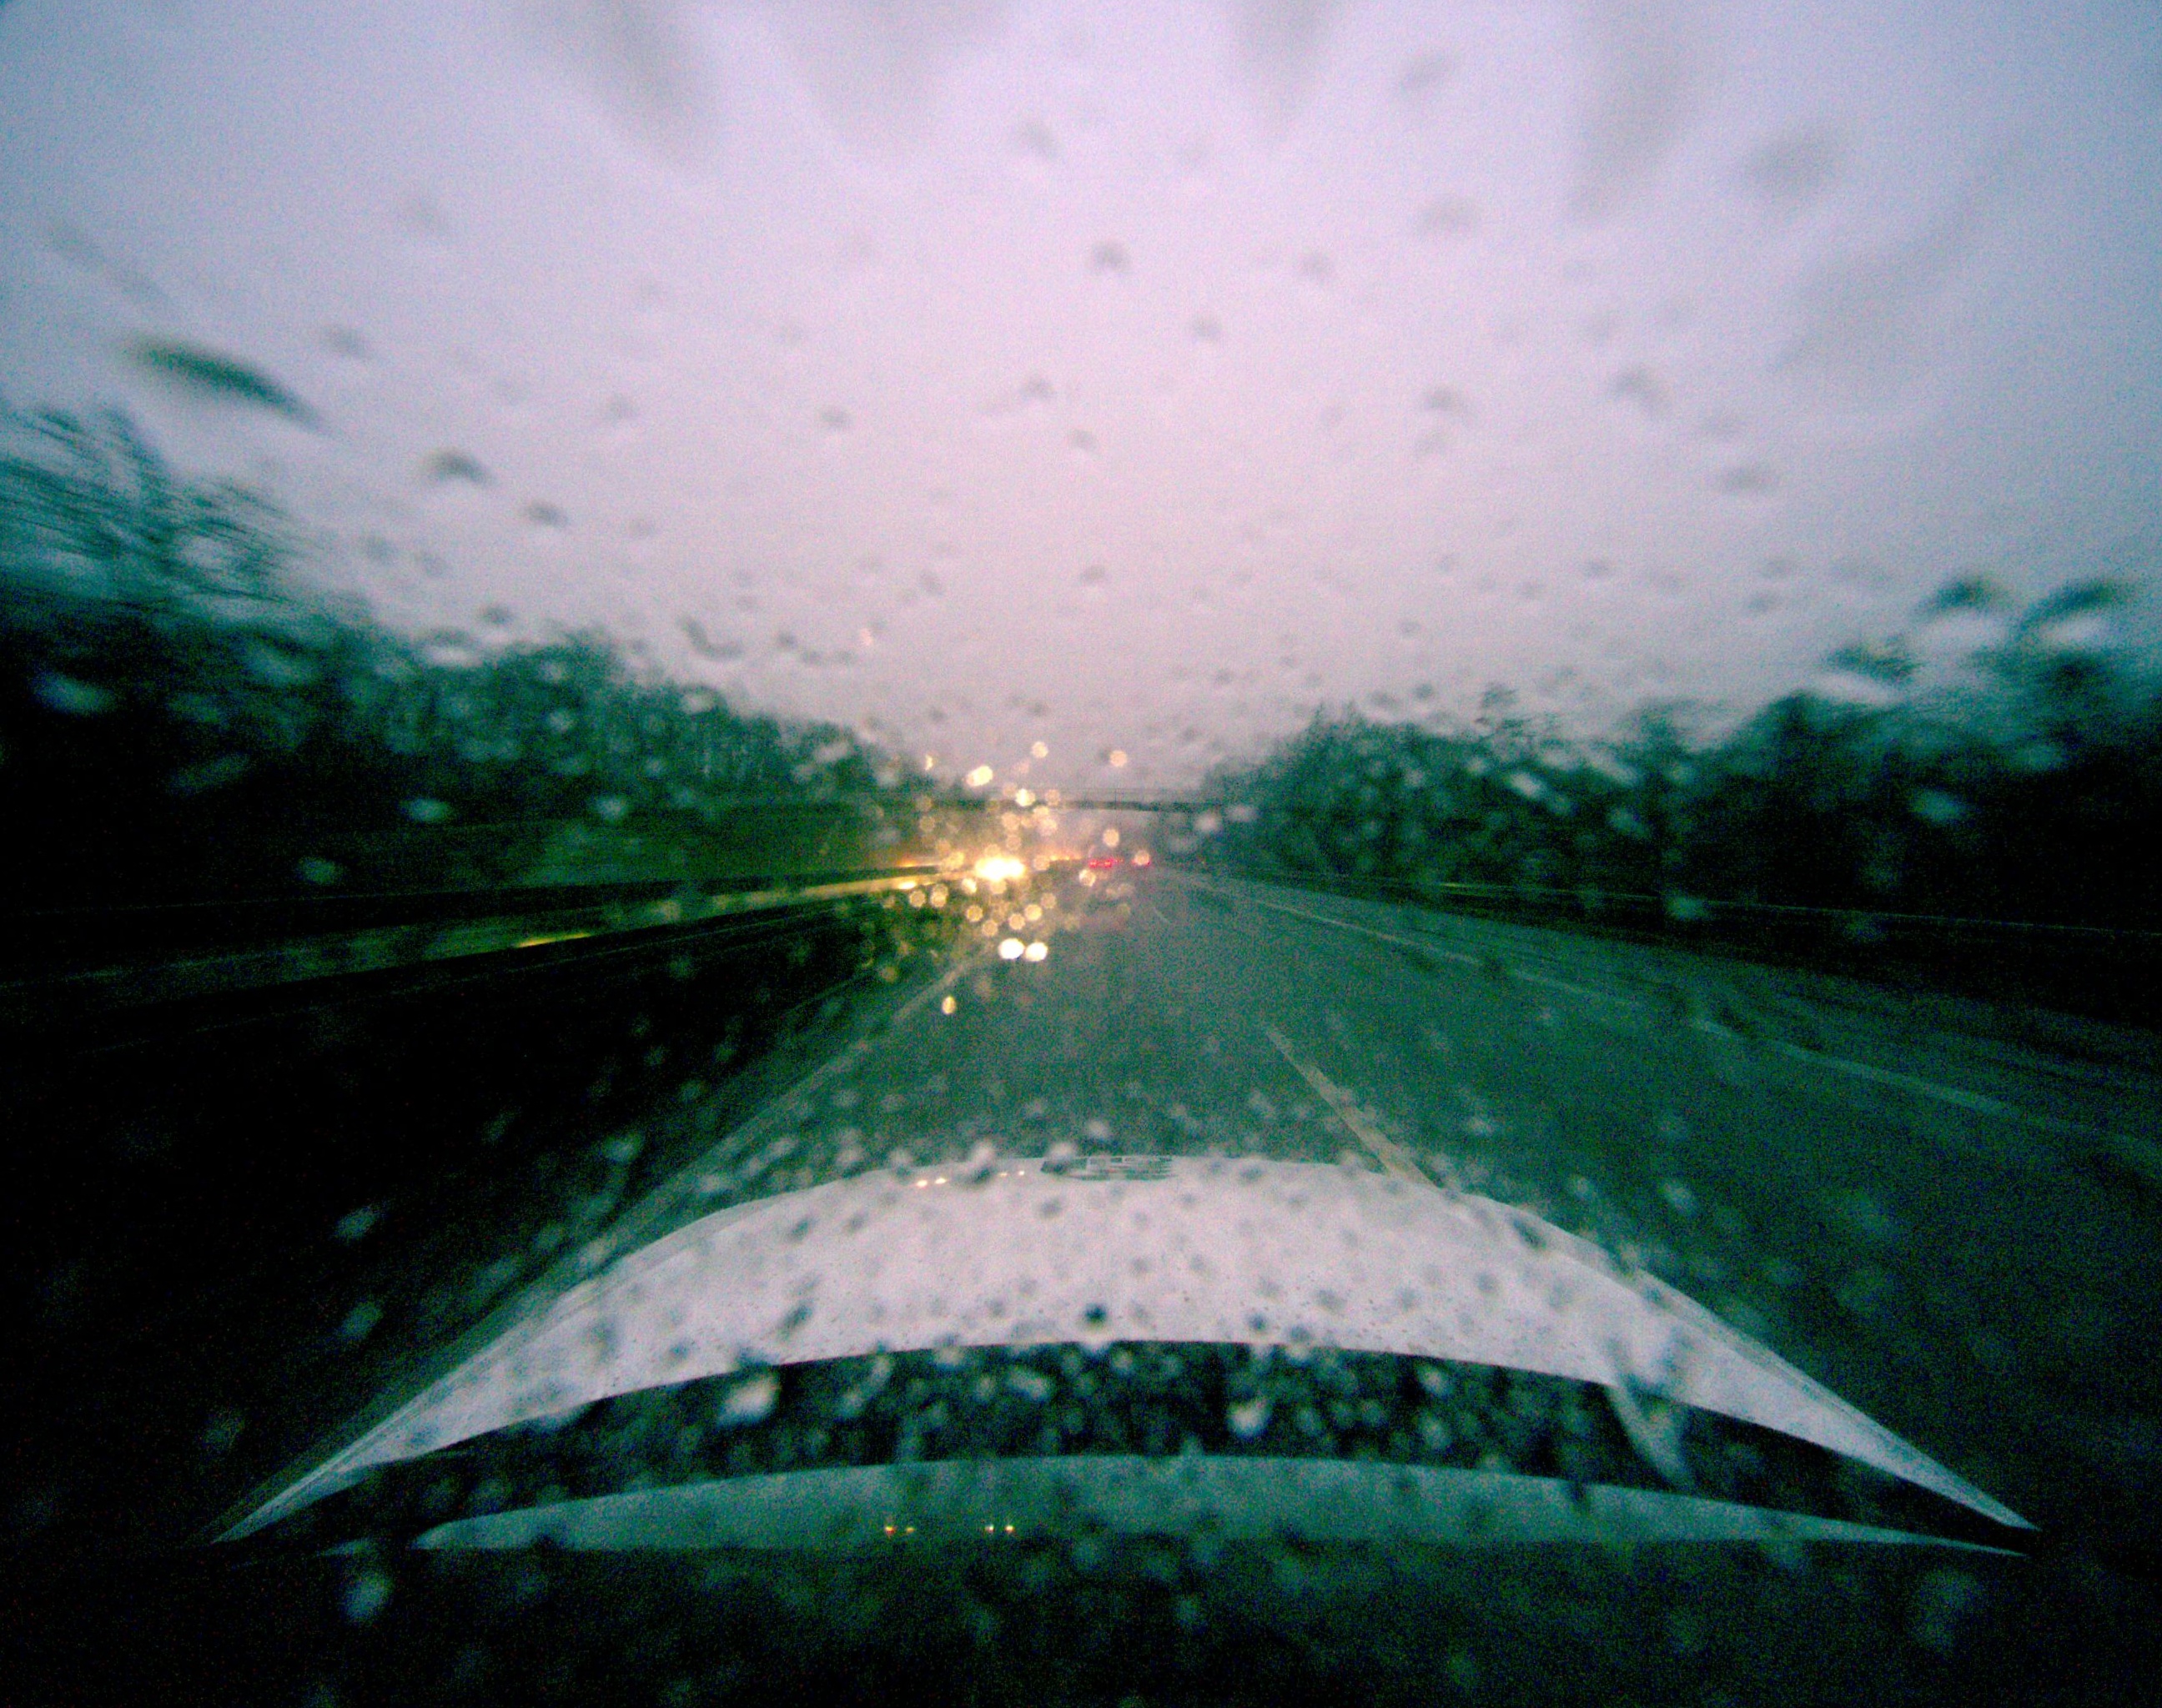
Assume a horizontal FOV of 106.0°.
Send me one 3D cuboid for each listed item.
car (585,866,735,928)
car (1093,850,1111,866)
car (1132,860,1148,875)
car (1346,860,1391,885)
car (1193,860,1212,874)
[{"bbox_3d":[-11.184,1.079,21.981,1.834,1.444,4.001,1,0,2],"label":"car"},{"bbox_3d":[1.808,0.361,69.687,1.448,1.344,3.491,-1,0,2],"label":"car"},{"bbox_3d":[5.974,1.337,82.633,1.448,1.429,3.491,0,0,2],"label":"car"},{"bbox_3d":[16.180,1.042,45.986,1.448,1.344,3.491,0,0,2],"label":"car"},{"bbox_3d":[11.993,1.288,80.762,1.448,1.344,3.491,0,0,2],"label":"car"}]
